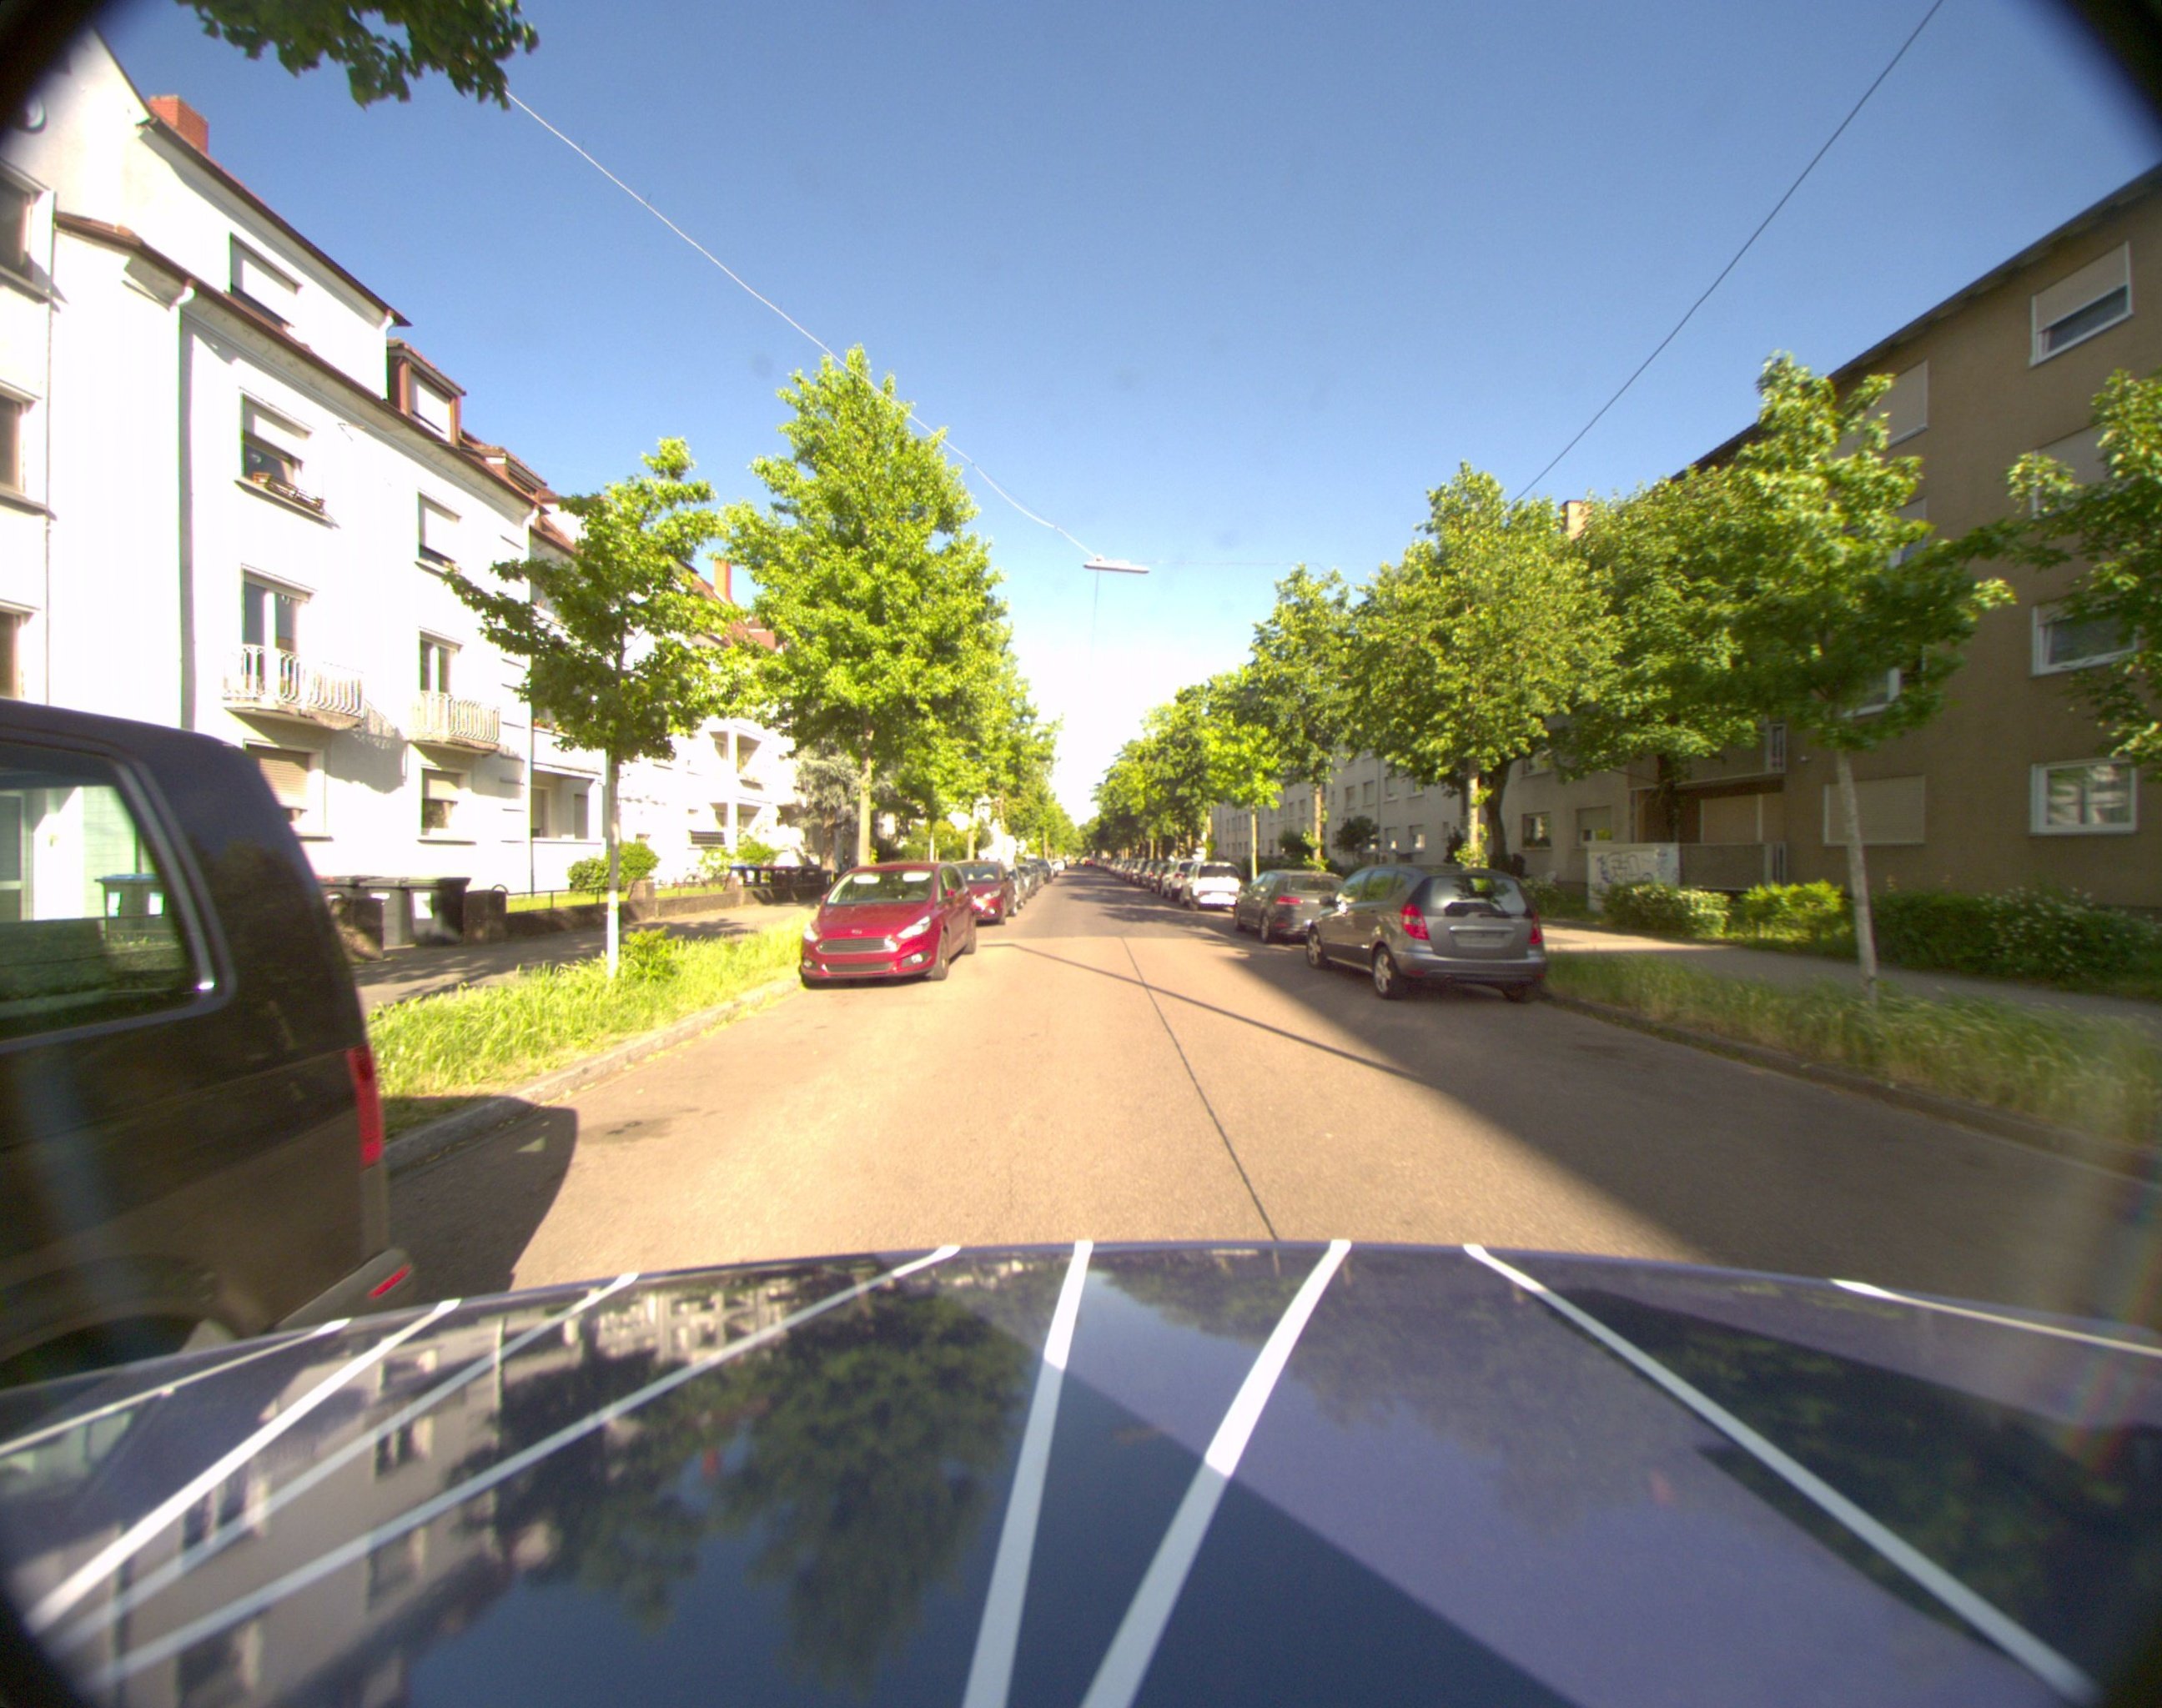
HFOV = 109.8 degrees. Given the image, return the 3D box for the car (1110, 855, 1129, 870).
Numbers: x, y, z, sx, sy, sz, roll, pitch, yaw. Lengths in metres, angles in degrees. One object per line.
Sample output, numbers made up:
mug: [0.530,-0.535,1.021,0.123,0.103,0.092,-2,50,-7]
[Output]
car: [4.108,0.929,82.286,1.769,1.487,4.014,-2,1,-1]

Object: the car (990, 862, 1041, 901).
car: [-2.697,1.112,31.967,1.768,1.389,3.695,-2,1,0]

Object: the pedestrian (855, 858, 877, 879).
pedestrian: [-12.126,0.814,42.913,1.036,1.136,0.716,-2,1,-6]

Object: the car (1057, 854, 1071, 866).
car: [-2.356,0.853,105.979,1.891,1.624,3.888,0,0,0]

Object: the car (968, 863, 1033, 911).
car: [-2.660,1.064,26.001,1.715,1.399,4.490,1,1,0]

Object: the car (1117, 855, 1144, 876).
car: [4.078,0.933,62.951,1.879,1.553,4.182,1,1,-1]

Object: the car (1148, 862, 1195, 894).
car: [4.231,1.072,35.976,1.662,1.384,4.236,0,0,-1]

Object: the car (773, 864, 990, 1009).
car: [-2.709,1.036,11.681,1.903,1.604,4.972,-1,1,1]

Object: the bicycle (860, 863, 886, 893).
bicycle: [-8.953,1.030,32.826,0.490,1.190,2.175,-2,1,-1]

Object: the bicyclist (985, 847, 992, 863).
bicyclist: [-8.061,0.083,66.266,0.497,1.331,0.719,1,1,0]

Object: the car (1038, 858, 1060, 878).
car: [-2.752,1.178,65.122,1.769,1.487,4.014,-2,1,-2]

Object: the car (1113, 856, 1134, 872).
car: [4.118,0.964,74.639,1.769,1.487,4.014,-2,1,-1]

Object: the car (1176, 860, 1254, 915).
car: [4.272,1.025,24.841,1.721,1.517,3.999,-2,1,-1]

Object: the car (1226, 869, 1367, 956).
car: [4.284,1.103,15.791,1.664,1.387,4.091,-2,1,-1]

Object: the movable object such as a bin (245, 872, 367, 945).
movable object such as a bin: [-11.930,0.816,11.737,0.777,1.020,1.010,-2,1,5]

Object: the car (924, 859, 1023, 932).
car: [-2.705,0.994,20.176,1.935,1.558,4.593,2,1,0]

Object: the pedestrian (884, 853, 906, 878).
pedestrian: [-10.589,0.659,43.184,1.038,1.370,0.714,0,1,-35]

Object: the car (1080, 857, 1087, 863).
car: [0.644,1.437,186.795,1.769,1.486,3.782,0,0,-2]

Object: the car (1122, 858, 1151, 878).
car: [4.152,1.048,57.315,1.879,1.367,4.182,1,1,-1]

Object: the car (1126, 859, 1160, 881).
car: [4.122,1.035,50.761,1.879,1.367,4.068,1,1,-1]

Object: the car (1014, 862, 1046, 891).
car: [-2.784,1.206,42.323,1.609,1.415,4.014,-2,1,-2]

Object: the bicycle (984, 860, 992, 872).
bicycle: [-8.086,1.040,66.381,0.459,0.956,1.787,1,1,0]

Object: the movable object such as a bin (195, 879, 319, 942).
movable object such as a bin: [-12.767,0.862,11.808,0.777,0.858,1.010,-2,1,5]

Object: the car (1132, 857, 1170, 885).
car: [4.180,0.971,45.685,1.820,1.576,4.408,1,0,-1]

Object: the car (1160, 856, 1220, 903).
car: [4.246,0.936,30.108,1.708,1.670,4.223,1,1,-1]

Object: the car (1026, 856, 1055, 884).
car: [-2.581,0.978,49.473,1.769,1.627,4.014,-2,1,-2]

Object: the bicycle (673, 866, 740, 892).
bicycle: [-13.532,0.913,27.501,2.065,0.765,0.626,-4,1,0]

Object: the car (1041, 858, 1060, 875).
car: [-2.785,1.101,69.872,1.609,1.402,3.669,-2,1,-2]

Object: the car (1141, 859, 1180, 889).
car: [4.226,1.032,40.769,1.653,1.436,3.966,1,1,-1]

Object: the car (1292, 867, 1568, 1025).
car: [4.271,1.013,10.113,1.724,1.553,4.107,1,1,-1]

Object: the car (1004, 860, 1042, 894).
car: [-2.749,1.075,36.710,1.609,1.455,3.870,-2,1,-2]

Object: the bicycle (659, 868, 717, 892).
bicycle: [-15.498,1.024,29.945,2.034,0.913,0.559,1,1,4]
